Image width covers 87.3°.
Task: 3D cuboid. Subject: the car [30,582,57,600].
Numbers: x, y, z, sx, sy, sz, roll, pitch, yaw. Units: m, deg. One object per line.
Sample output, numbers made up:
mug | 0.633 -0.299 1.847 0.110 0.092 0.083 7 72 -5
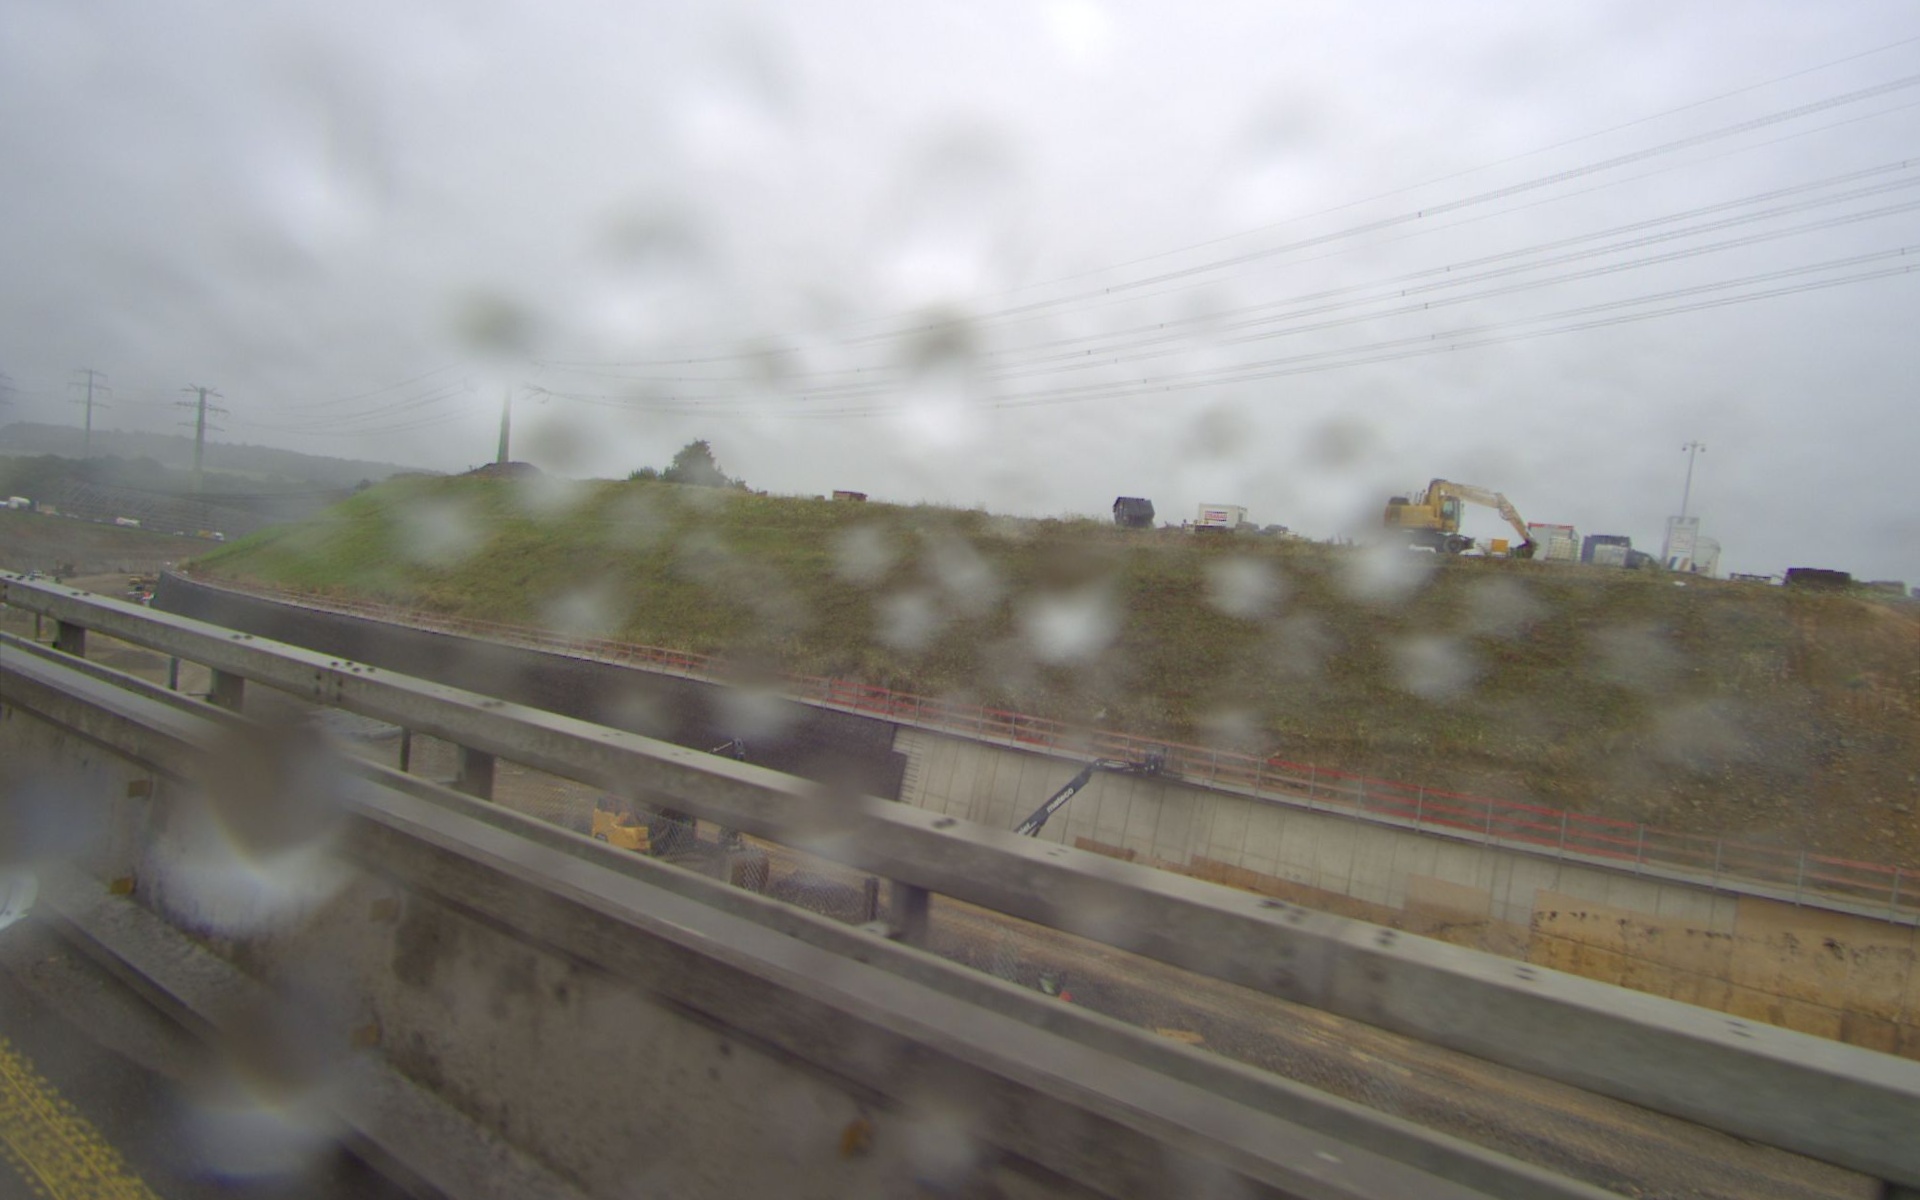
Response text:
car | -134.371 -1.374 147.453 3.944 2.037 2.363 6 -2 41

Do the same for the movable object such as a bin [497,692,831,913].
movable object such as a bin | -11.070 6.927 36.941 11.904 5.732 4.900 4 -4 35

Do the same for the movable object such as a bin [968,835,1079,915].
movable object such as a bin | 2.383 10.225 37.690 3.201 1.932 2.524 6 -3 29

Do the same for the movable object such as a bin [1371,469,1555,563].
movable object such as a bin | 26.809 -4.530 53.853 8.051 4.260 3.098 7 1 36
